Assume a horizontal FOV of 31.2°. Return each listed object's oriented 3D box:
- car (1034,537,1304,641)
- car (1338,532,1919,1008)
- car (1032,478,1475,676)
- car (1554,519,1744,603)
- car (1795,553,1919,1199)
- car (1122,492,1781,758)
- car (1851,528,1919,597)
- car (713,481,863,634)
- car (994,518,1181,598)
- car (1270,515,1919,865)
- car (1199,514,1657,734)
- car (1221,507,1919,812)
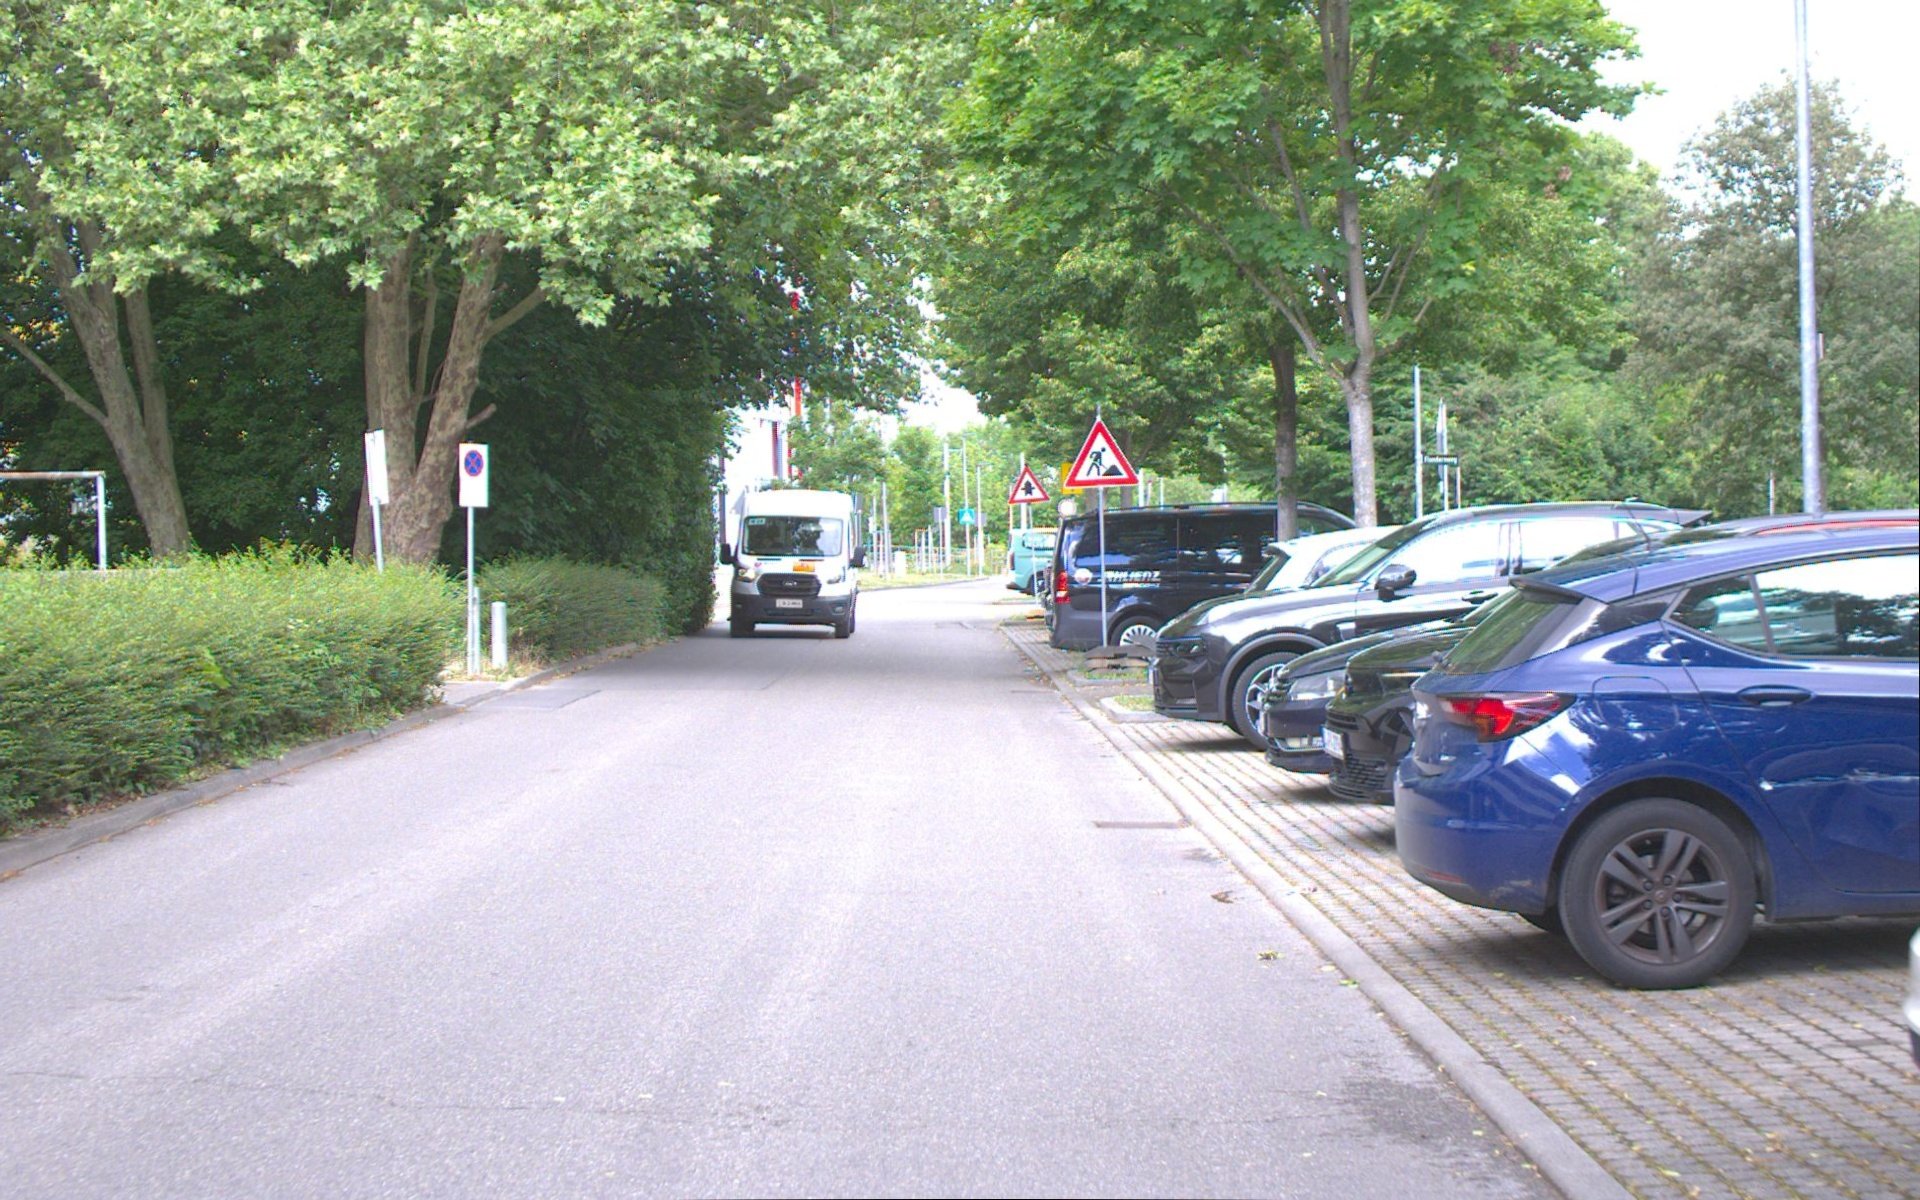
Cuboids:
[{"bbox_3d":[3.195,-0.173,53.187,3.987,1.425,1.936,-2,0,-1],"label":"car"},{"bbox_3d":[3.471,0.488,11.901,4.072,1.451,1.851,-2,1,0],"label":"car"},{"bbox_3d":[3.377,-0.280,40.424,4.954,2.007,2.166,-3,1,1],"label":"car"},{"bbox_3d":[14.523,-0.818,72.598,3.780,1.662,1.767,-1,0,7],"label":"car"},{"bbox_3d":[4.128,0.551,6.717,4.485,1.449,1.846,-2,1,0],"label":"car"},{"bbox_3d":[3.473,0.150,24.975,4.415,1.670,2.082,-2,1,-1],"label":"car"},{"bbox_3d":[21.034,-0.804,71.937,4.393,1.423,1.703,-1,0,6],"label":"car"},{"bbox_3d":[-2.878,-0.748,58.847,2.132,2.467,6.277,1,1,1],"label":"car"},{"bbox_3d":[3.462,-1.145,93.757,4.972,1.965,1.847,-2,1,1],"label":"car"},{"bbox_3d":[3.722,0.378,16.943,4.072,1.512,1.851,-2,1,-4],"label":"car"},{"bbox_3d":[3.698,0.163,27.597,3.379,1.569,1.796,-2,1,0],"label":"car"},{"bbox_3d":[3.910,0.296,19.853,4.636,1.512,1.982,-2,1,1],"label":"car"}]
